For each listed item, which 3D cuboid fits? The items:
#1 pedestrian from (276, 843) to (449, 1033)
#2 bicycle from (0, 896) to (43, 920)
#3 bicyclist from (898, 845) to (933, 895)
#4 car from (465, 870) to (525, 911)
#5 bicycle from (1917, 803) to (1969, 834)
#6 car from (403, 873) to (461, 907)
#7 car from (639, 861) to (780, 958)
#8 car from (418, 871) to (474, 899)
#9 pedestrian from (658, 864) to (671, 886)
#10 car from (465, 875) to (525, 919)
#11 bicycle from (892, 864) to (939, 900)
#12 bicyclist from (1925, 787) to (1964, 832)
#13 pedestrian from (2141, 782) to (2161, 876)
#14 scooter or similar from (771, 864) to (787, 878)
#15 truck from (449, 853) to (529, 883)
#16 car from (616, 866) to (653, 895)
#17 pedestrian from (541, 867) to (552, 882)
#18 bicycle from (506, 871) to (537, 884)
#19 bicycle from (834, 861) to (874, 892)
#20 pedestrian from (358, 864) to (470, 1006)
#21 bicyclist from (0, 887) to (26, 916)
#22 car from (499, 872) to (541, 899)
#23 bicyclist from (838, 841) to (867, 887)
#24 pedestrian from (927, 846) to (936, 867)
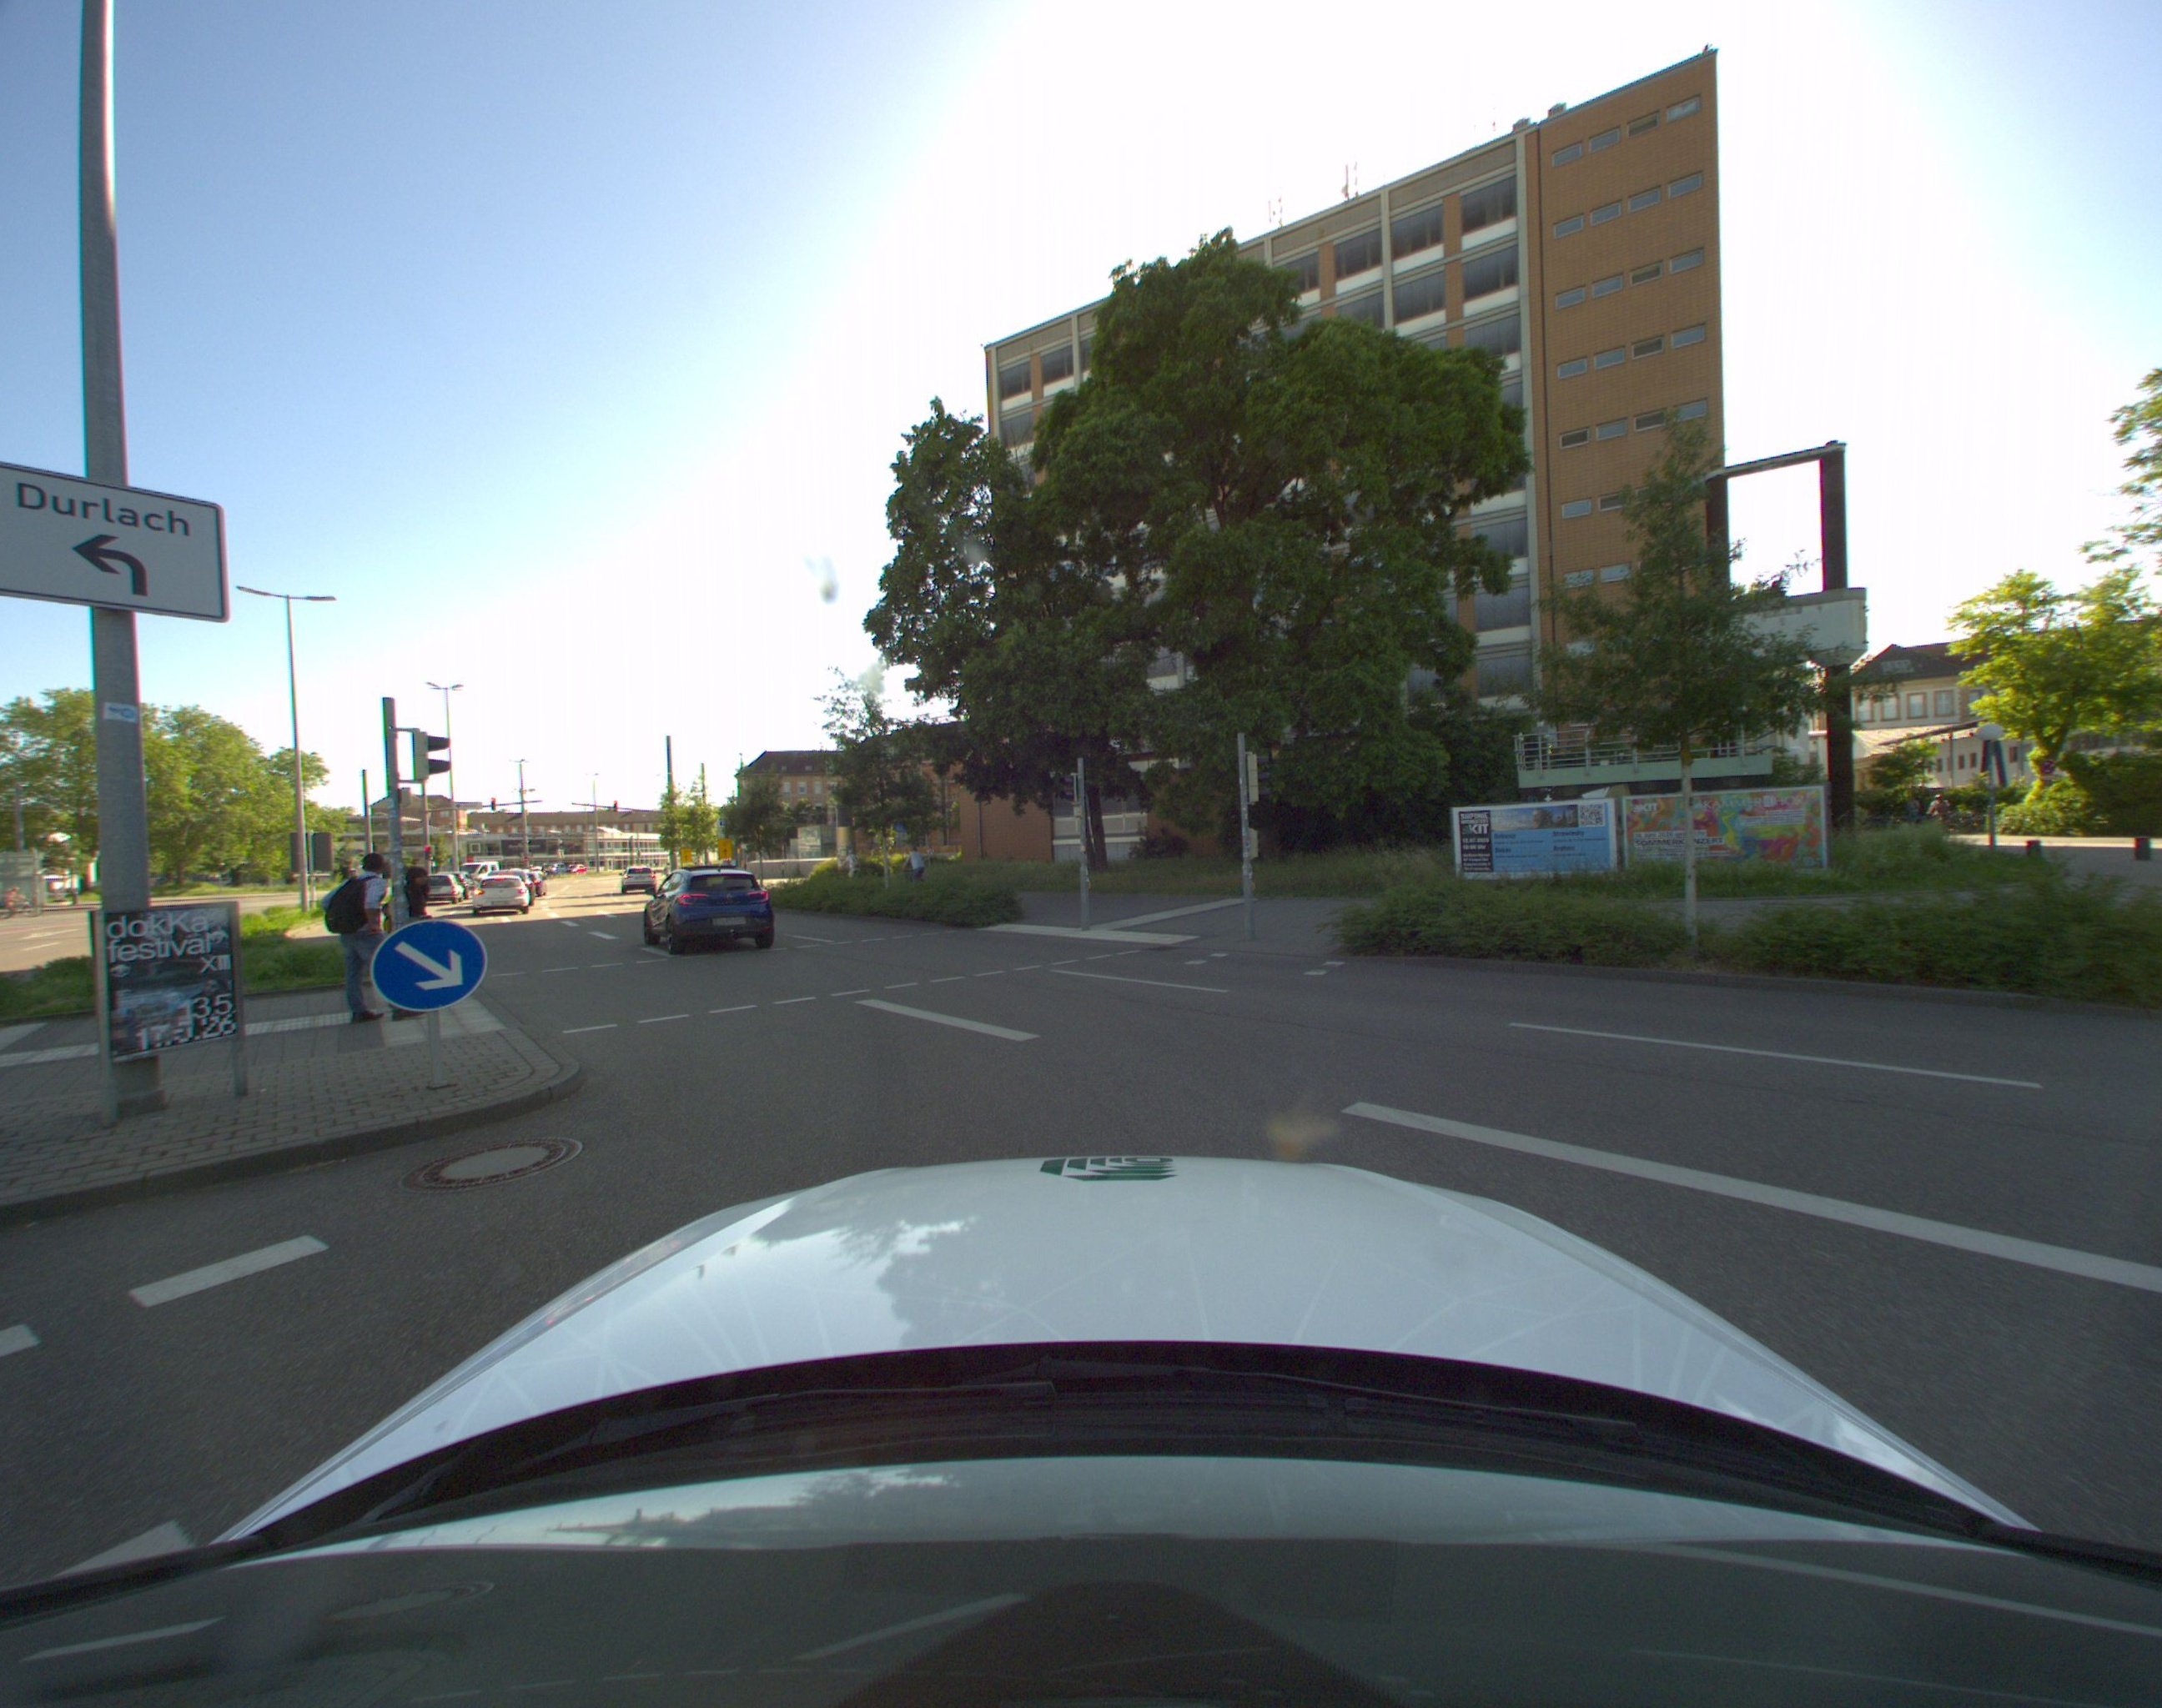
[{"bbox_3d":[-7.481,0.820,8.521,0.747,1.833,1.101,-2,-1,23],"label":"pedestrian"},{"bbox_3d":[-56.034,2.831,42.644,1.965,1.165,0.636,-2,0,-34],"label":"bicycle"},{"bbox_3d":[-5.606,0.540,27.615,0.726,1.617,0.966,-3,1,-39],"label":"bicyclist"},{"bbox_3d":[-26.018,1.561,36.195,1.999,1.623,4.329,-3,0,-36],"label":"car"},{"bbox_3d":[34.968,-1.426,33.023,1.870,1.165,0.743,-3,1,-19],"label":"bicycle"},{"bbox_3d":[-31.210,1.672,39.243,1.737,1.442,3.759,-2,0,-33],"label":"car"},{"bbox_3d":[-7.432,1.012,16.099,1.891,1.617,3.756,-2,-1,-35],"label":"car"},{"bbox_3d":[-35.053,1.670,45.081,1.734,1.442,3.875,0,-1,-27],"label":"car"},{"bbox_3d":[-32.165,1.626,62.904,0.593,1.723,0.869,-3,-2,-6],"label":"pedestrian"},{"bbox_3d":[-21.913,1.549,30.434,1.704,1.436,3.695,-3,0,-37],"label":"car"},{"bbox_3d":[-5.637,0.934,27.665,0.722,1.165,1.848,-3,1,-40],"label":"bicycle"},{"bbox_3d":[35.037,-1.801,33.046,0.977,1.735,0.717,-2,1,-19],"label":"bicyclist"},{"bbox_3d":[19.344,-0.449,14.383,0.738,1.643,0.671,-1,2,-32],"label":"pedestrian"},{"bbox_3d":[-22.899,1.316,61.763,1.233,1.012,0.471,1,2,37],"label":"scooter or similar"},{"bbox_3d":[-50.839,1.139,70.158,2.210,2.313,6.874,-2,0,-4],"label":"truck"},{"bbox_3d":[-27.204,1.578,49.623,1.888,1.617,3.591,-1,-1,-29],"label":"car"},{"bbox_3d":[-63.571,2.433,96.787,0.699,1.610,0.851,0,2,-2],"label":"pedestrian"},{"bbox_3d":[-62.581,2.623,91.164,0.935,1.188,2.672,1,2,33],"label":"bicycle"},{"bbox_3d":[-8.971,0.871,32.148,0.752,1.165,1.848,-3,1,-40],"label":"bicycle"},{"bbox_3d":[-7.977,0.943,9.766,0.676,1.612,0.721,-2,0,7],"label":"pedestrian"},{"bbox_3d":[-56.059,2.485,42.645,0.779,1.444,0.636,-2,0,-33],"label":"bicyclist"},{"bbox_3d":[-32.308,1.763,46.951,1.736,1.442,3.761,0,-1,-31],"label":"car"},{"bbox_3d":[-9.025,0.389,32.185,0.726,1.762,0.966,-3,1,-40],"label":"bicyclist"},{"bbox_3d":[-12.814,0.191,69.856,0.786,1.752,0.537,-1,2,-9],"label":"pedestrian"}]
